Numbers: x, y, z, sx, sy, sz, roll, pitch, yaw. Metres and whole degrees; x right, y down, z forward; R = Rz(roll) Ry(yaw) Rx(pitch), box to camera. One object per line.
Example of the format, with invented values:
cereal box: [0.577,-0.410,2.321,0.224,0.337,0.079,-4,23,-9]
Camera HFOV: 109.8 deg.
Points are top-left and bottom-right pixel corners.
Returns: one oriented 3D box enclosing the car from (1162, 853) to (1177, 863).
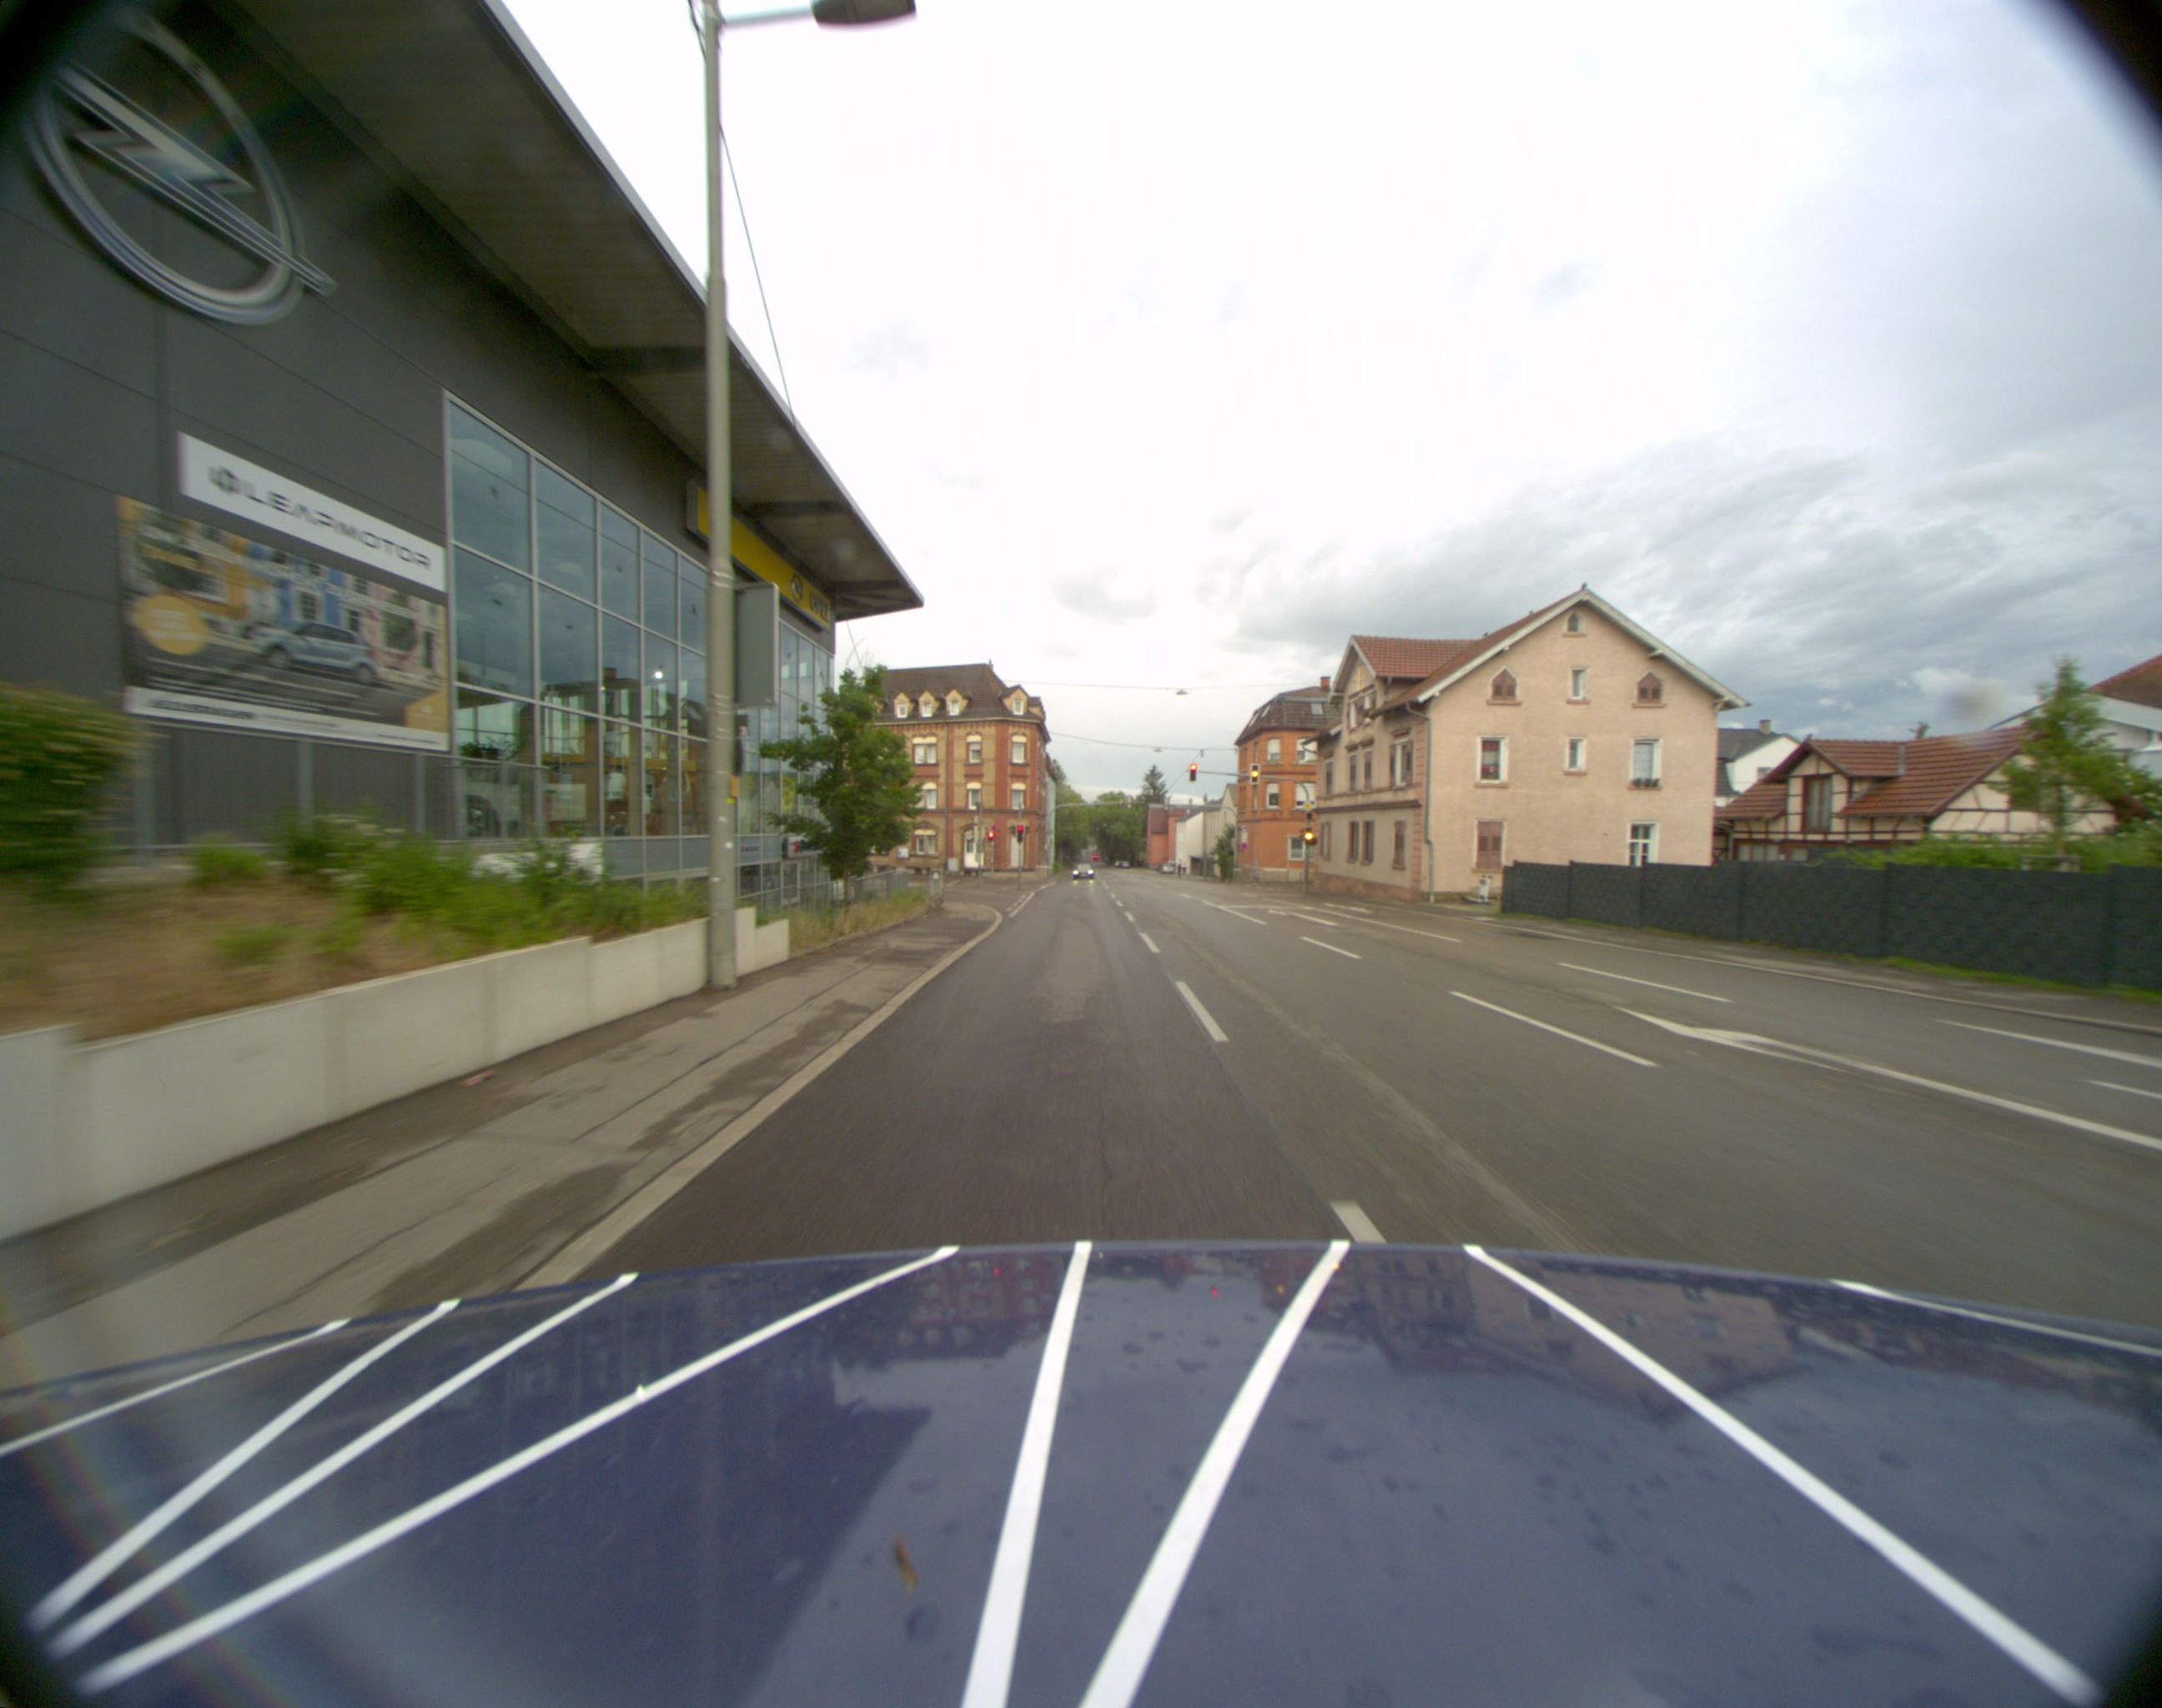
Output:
car: [13.014,0.575,112.184,1.749,1.499,4.177,1,1,1]

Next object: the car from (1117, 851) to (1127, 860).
car: [8.422,0.282,155.432,1.816,1.537,4.198,4,1,0]

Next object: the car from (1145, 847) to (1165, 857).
car: [15.757,-0.402,161.493,3.994,2.002,2.001,0,1,8]

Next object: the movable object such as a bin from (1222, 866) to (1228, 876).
movable object such as a bin: [13.423,1.604,70.746,0.410,0.919,0.525,-1,1,-6]

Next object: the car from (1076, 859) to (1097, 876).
car: [0.546,1.236,70.162,1.842,1.403,4.000,1,1,1]

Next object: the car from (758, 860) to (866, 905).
car: [-10.957,1.123,30.977,3.989,1.500,1.900,1,5,28]

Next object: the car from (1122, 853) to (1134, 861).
car: [8.811,0.508,144.118,1.789,1.402,4.197,3,0,-2]

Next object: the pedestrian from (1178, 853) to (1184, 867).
pedestrian: [11.833,0.674,89.947,0.642,1.696,0.911,0,1,1]

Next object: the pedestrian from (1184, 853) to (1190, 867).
pedestrian: [12.560,0.730,89.927,0.642,1.696,0.911,0,1,1]

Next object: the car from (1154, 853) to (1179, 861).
car: [15.152,0.504,134.664,4.171,1.425,2.000,-1,1,3]
